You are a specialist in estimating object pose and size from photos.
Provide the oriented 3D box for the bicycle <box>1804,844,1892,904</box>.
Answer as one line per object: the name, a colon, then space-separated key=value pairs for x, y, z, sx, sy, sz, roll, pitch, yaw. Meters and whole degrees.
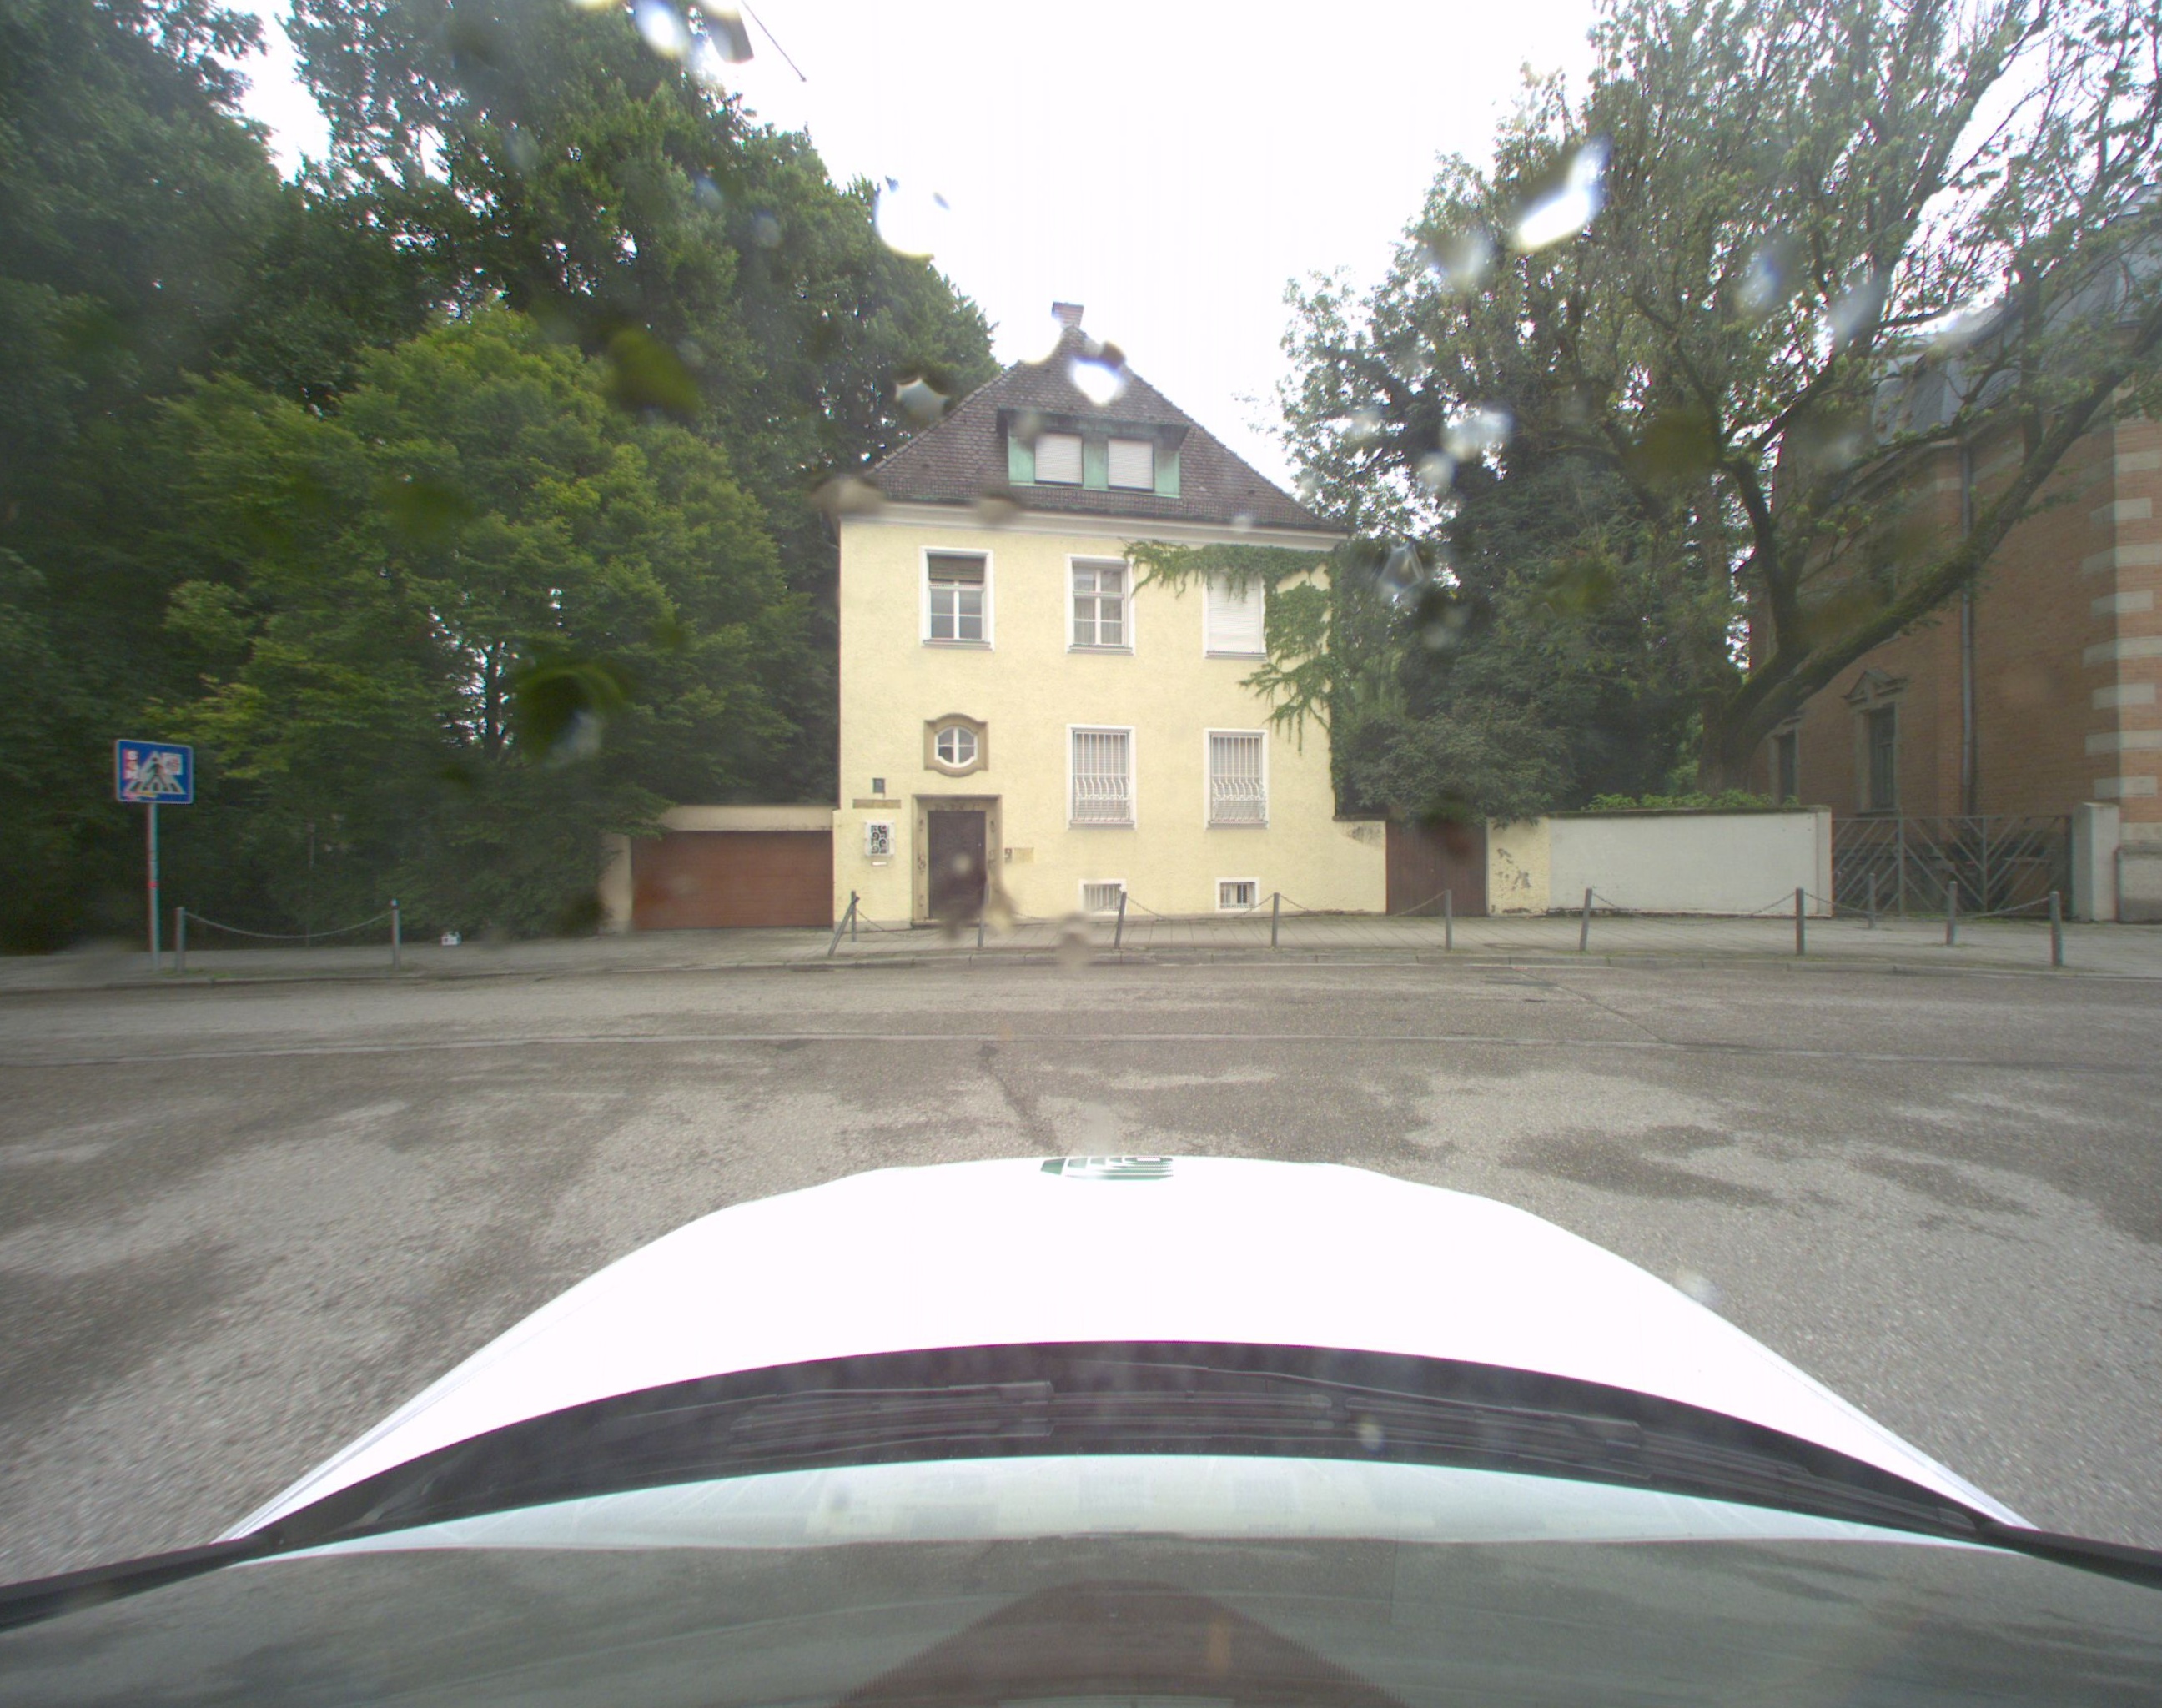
bicycle: x=16.588 y=0.413 z=17.675 sx=0.530 sy=1.219 sz=2.092 roll=0 pitch=0 yaw=17

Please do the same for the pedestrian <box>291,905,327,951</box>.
pedestrian: x=-20.158 y=1.927 z=21.273 sx=0.471 sy=1.156 sz=0.495 roll=0 pitch=-1 yaw=-11
